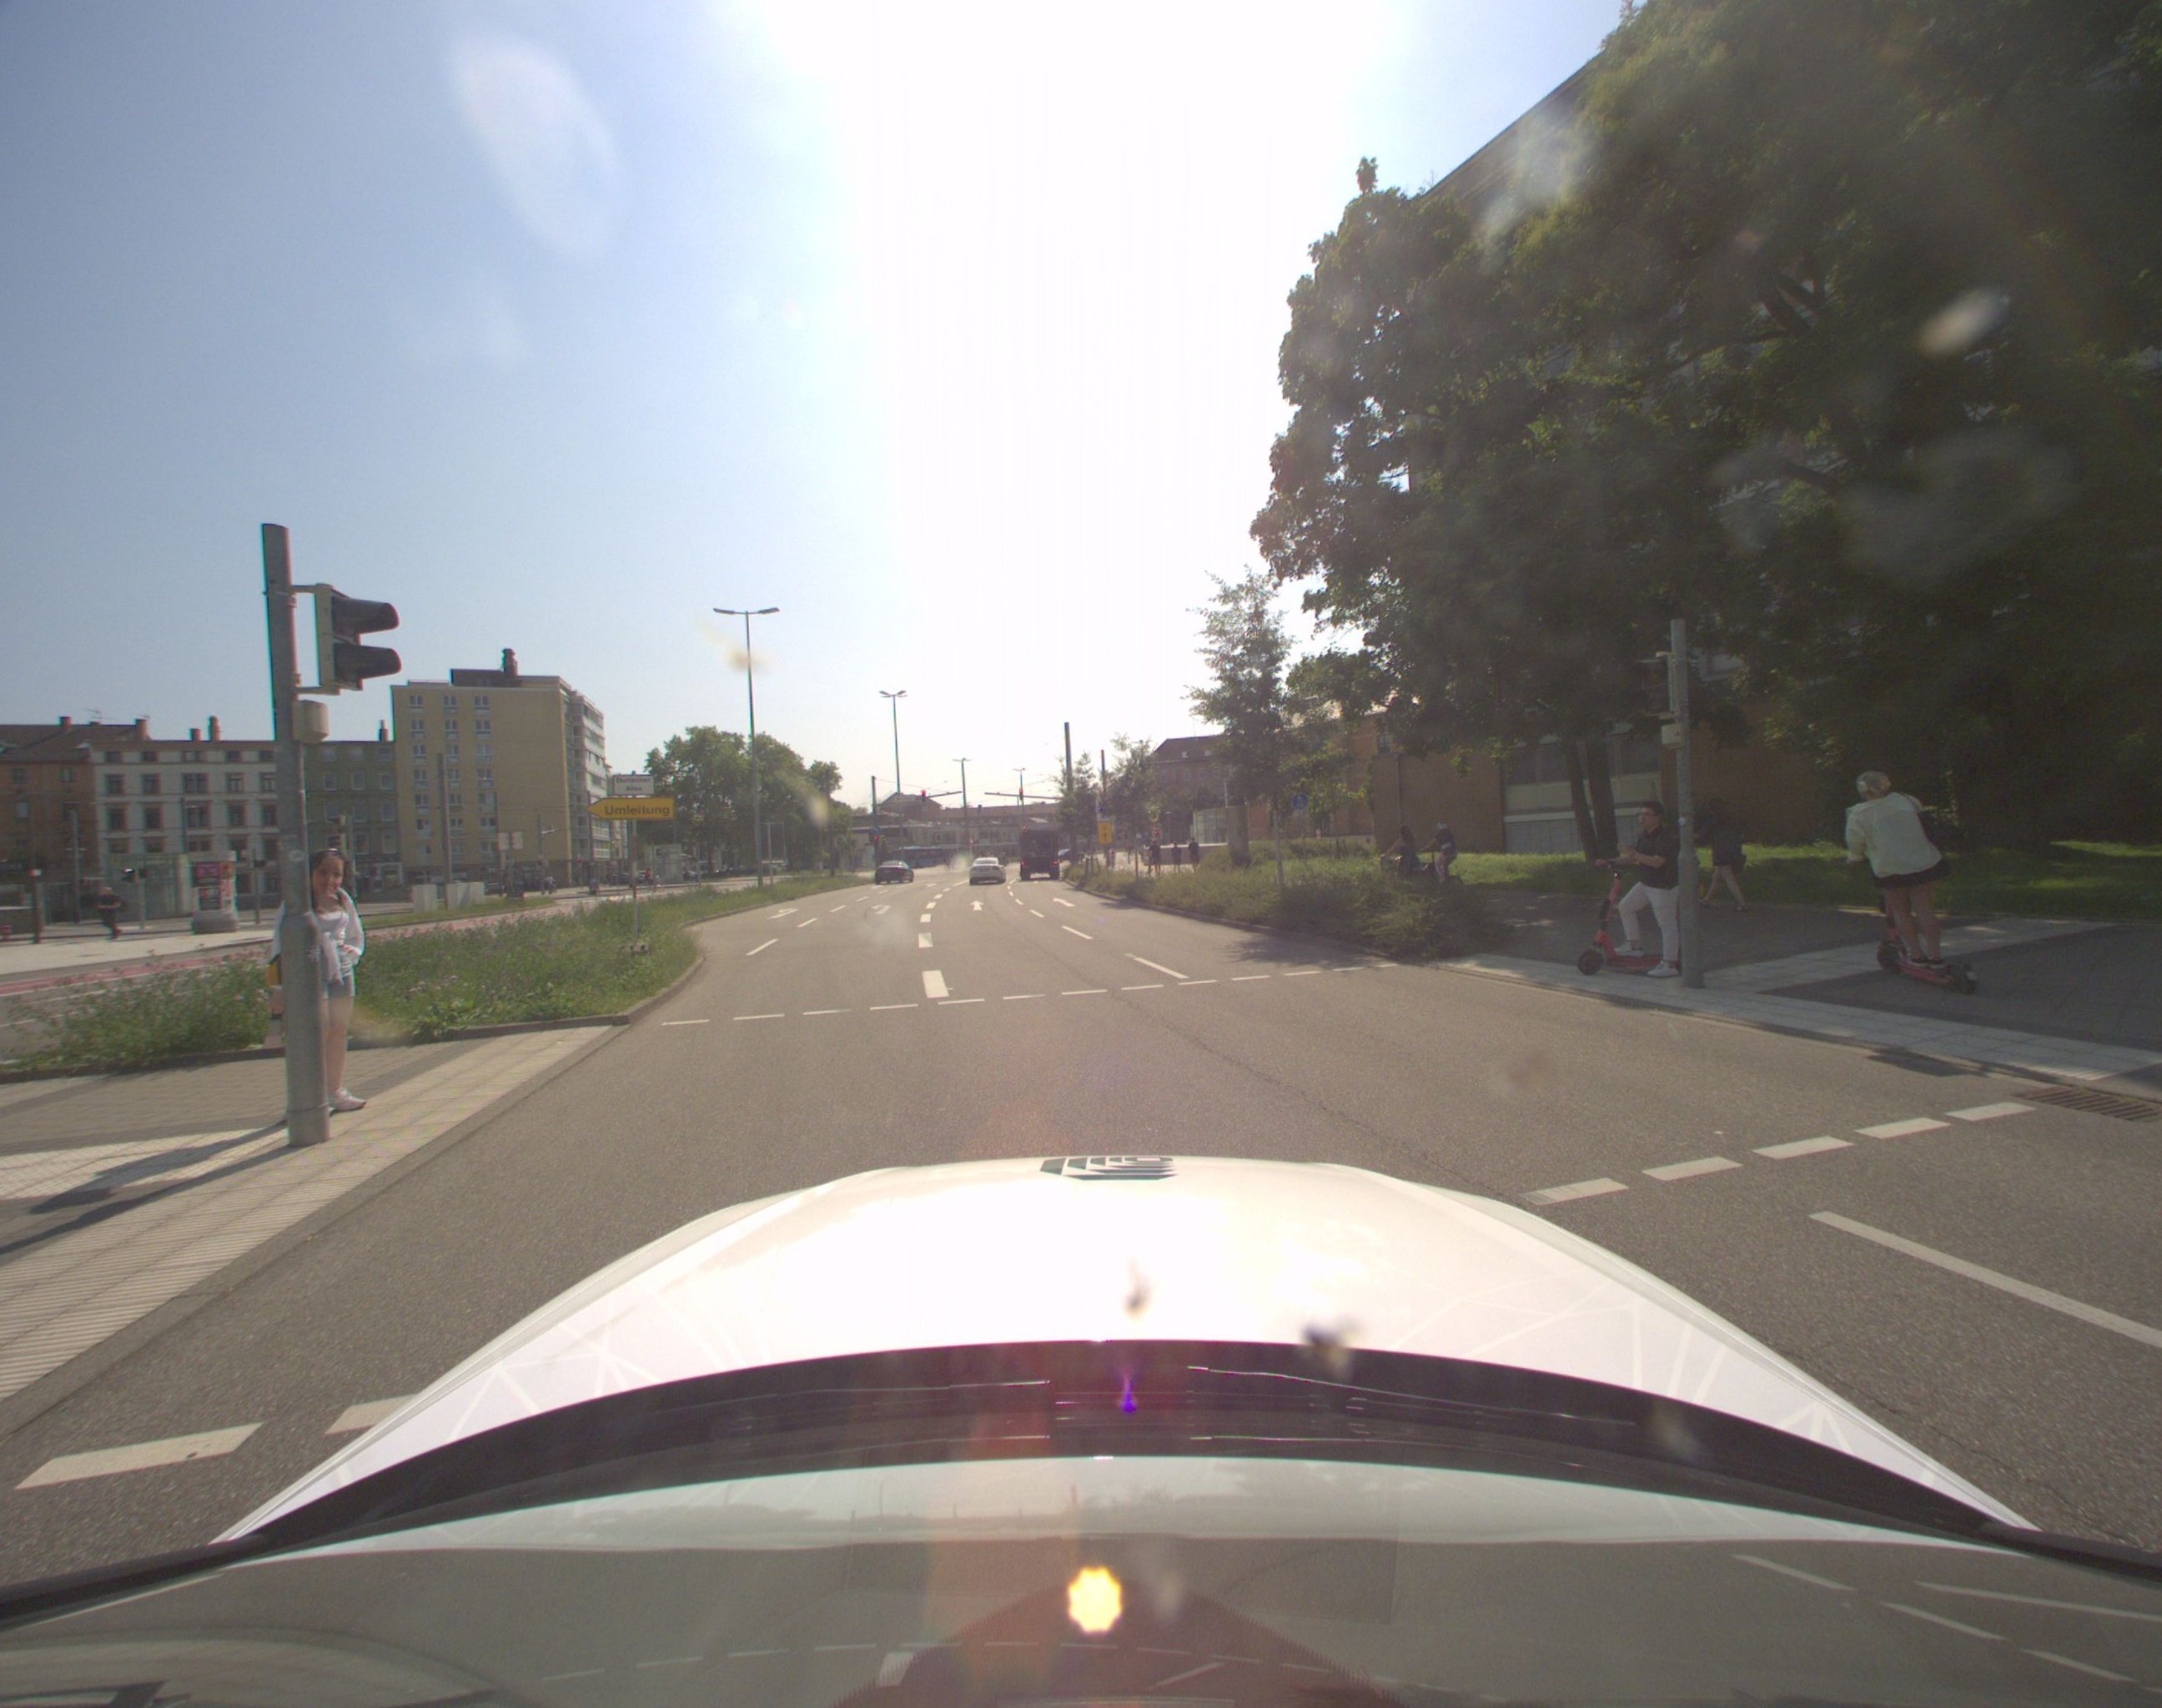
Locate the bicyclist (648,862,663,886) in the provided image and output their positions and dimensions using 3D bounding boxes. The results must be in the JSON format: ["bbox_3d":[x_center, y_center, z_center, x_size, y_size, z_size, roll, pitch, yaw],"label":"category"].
[{"bbox_3d":[-30.560,1.455,58.521,0.842,1.642,0.602,-3,0,-21],"label":"bicyclist"}]

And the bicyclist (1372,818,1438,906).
[{"bbox_3d":[6.226,0.151,15.681,0.691,1.598,0.840,-5,1,-14],"label":"bicyclist"}]

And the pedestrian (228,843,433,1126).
[{"bbox_3d":[-4.813,0.800,5.253,0.693,1.695,0.610,-3,0,13],"label":"pedestrian"}]

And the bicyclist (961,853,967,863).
[{"bbox_3d":[-14.910,0.543,103.798,0.500,1.188,0.509,-3,0,13],"label":"bicyclist"}]

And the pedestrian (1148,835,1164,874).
[{"bbox_3d":[3.729,0.028,40.407,0.656,1.860,0.795,-3,0,10],"label":"pedestrian"}]

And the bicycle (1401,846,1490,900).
[{"bbox_3d":[7.677,0.389,17.254,0.557,1.060,1.994,-3,0,-14],"label":"bicycle"}]

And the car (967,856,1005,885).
[{"bbox_3d":[-5.326,0.872,46.129,1.754,1.455,4.421,-2,0,-3],"label":"car"}]

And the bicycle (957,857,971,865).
[{"bbox_3d":[-14.943,0.900,103.805,1.580,0.985,0.509,-3,0,13],"label":"bicycle"}]

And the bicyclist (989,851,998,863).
[{"bbox_3d":[-11.526,0.355,107.331,0.907,1.501,0.858,-3,0,-22],"label":"bicyclist"}]

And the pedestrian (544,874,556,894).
[{"bbox_3d":[-46.345,2.606,71.119,0.651,1.632,0.809,-3,0,-20],"label":"pedestrian"}]

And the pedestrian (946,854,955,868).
[{"bbox_3d":[-17.114,0.908,106.615,0.778,1.752,0.811,-3,0,12],"label":"pedestrian"}]

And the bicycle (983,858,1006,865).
[{"bbox_3d":[-11.426,0.937,107.367,2.947,0.727,0.858,-3,0,-23],"label":"bicycle"}]

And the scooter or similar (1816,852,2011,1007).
[{"bbox_3d":[7.197,0.592,7.158,0.551,1.060,2.017,-6,0,29],"label":"scooter or similar"}]

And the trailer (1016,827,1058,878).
[{"bbox_3d":[-2.716,-0.109,51.721,2.456,3.007,6.320,-1,0,-2],"label":"trailer"}]

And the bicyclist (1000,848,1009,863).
[{"bbox_3d":[-8.374,0.144,89.175,0.684,1.650,0.623,-3,0,27],"label":"bicyclist"}]

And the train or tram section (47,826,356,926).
[{"bbox_3d":[-37.484,0.748,35.259,3.107,3.569,8.292,-4,1,23],"label":"train or tram section"}]

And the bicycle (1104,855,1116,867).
[{"bbox_3d":[2.190,0.527,62.060,0.673,0.776,2.126,-3,0,-2],"label":"bicycle"}]

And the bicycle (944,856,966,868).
[{"bbox_3d":[-12.891,0.847,83.372,0.980,1.178,2.800,-3,0,-36],"label":"bicycle"}]

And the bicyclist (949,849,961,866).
[{"bbox_3d":[-12.923,0.346,83.376,0.980,1.654,0.655,-3,0,-37],"label":"bicyclist"}]

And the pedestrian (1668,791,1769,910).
[{"bbox_3d":[9.686,-0.054,12.403,0.707,1.704,0.874,-5,1,-15],"label":"pedestrian"}]

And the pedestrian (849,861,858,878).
[{"bbox_3d":[-16.893,1.152,60.486,0.598,1.268,0.501,-3,3,-22],"label":"pedestrian"}]

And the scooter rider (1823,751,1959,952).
[{"bbox_3d":[7.178,-0.020,7.248,0.664,1.699,0.542,-4,2,29],"label":"scooter rider"}]

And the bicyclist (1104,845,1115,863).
[{"bbox_3d":[2.159,-0.009,61.983,0.673,1.320,0.683,-3,0,-3],"label":"bicyclist"}]

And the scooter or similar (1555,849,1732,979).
[{"bbox_3d":[5.862,0.611,8.545,1.355,1.234,0.587,-4,0,8],"label":"scooter or similar"}]

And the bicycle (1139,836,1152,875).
[{"bbox_3d":[3.197,0.068,40.258,0.453,1.860,1.366,-3,0,8],"label":"bicycle"}]

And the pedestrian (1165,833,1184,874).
[{"bbox_3d":[4.619,-0.049,40.258,0.773,1.973,0.756,-3,0,11],"label":"pedestrian"}]

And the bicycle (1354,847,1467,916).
[{"bbox_3d":[6.263,0.496,15.670,0.695,1.154,2.360,-5,1,-14],"label":"bicycle"}]

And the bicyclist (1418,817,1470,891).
[{"bbox_3d":[7.672,-0.004,17.220,0.550,1.496,0.799,-3,0,-15],"label":"bicyclist"}]

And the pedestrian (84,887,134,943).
[{"bbox_3d":[-31.266,1.948,26.218,0.646,1.702,0.804,-3,0,-19],"label":"pedestrian"}]

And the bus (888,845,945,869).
[{"bbox_3d":[-23.134,0.341,115.446,3.032,2.931,11.896,-3,0,13],"label":"bus"}]

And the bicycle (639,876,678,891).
[{"bbox_3d":[-30.385,2.119,58.573,2.418,0.953,0.599,-3,0,-22],"label":"bicycle"}]

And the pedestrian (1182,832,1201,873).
[{"bbox_3d":[5.502,-0.073,40.557,0.773,1.973,0.756,-3,0,11],"label":"pedestrian"}]

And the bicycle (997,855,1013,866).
[{"bbox_3d":[-8.333,0.686,89.200,0.690,1.136,2.056,-3,0,28],"label":"bicycle"}]

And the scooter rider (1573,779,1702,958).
[{"bbox_3d":[5.777,0.146,8.498,0.798,1.739,0.690,-4,0,9],"label":"scooter rider"}]

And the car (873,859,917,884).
[{"bbox_3d":[-11.601,1.051,50.974,1.752,1.404,3.981,-2,0,1],"label":"car"}]
